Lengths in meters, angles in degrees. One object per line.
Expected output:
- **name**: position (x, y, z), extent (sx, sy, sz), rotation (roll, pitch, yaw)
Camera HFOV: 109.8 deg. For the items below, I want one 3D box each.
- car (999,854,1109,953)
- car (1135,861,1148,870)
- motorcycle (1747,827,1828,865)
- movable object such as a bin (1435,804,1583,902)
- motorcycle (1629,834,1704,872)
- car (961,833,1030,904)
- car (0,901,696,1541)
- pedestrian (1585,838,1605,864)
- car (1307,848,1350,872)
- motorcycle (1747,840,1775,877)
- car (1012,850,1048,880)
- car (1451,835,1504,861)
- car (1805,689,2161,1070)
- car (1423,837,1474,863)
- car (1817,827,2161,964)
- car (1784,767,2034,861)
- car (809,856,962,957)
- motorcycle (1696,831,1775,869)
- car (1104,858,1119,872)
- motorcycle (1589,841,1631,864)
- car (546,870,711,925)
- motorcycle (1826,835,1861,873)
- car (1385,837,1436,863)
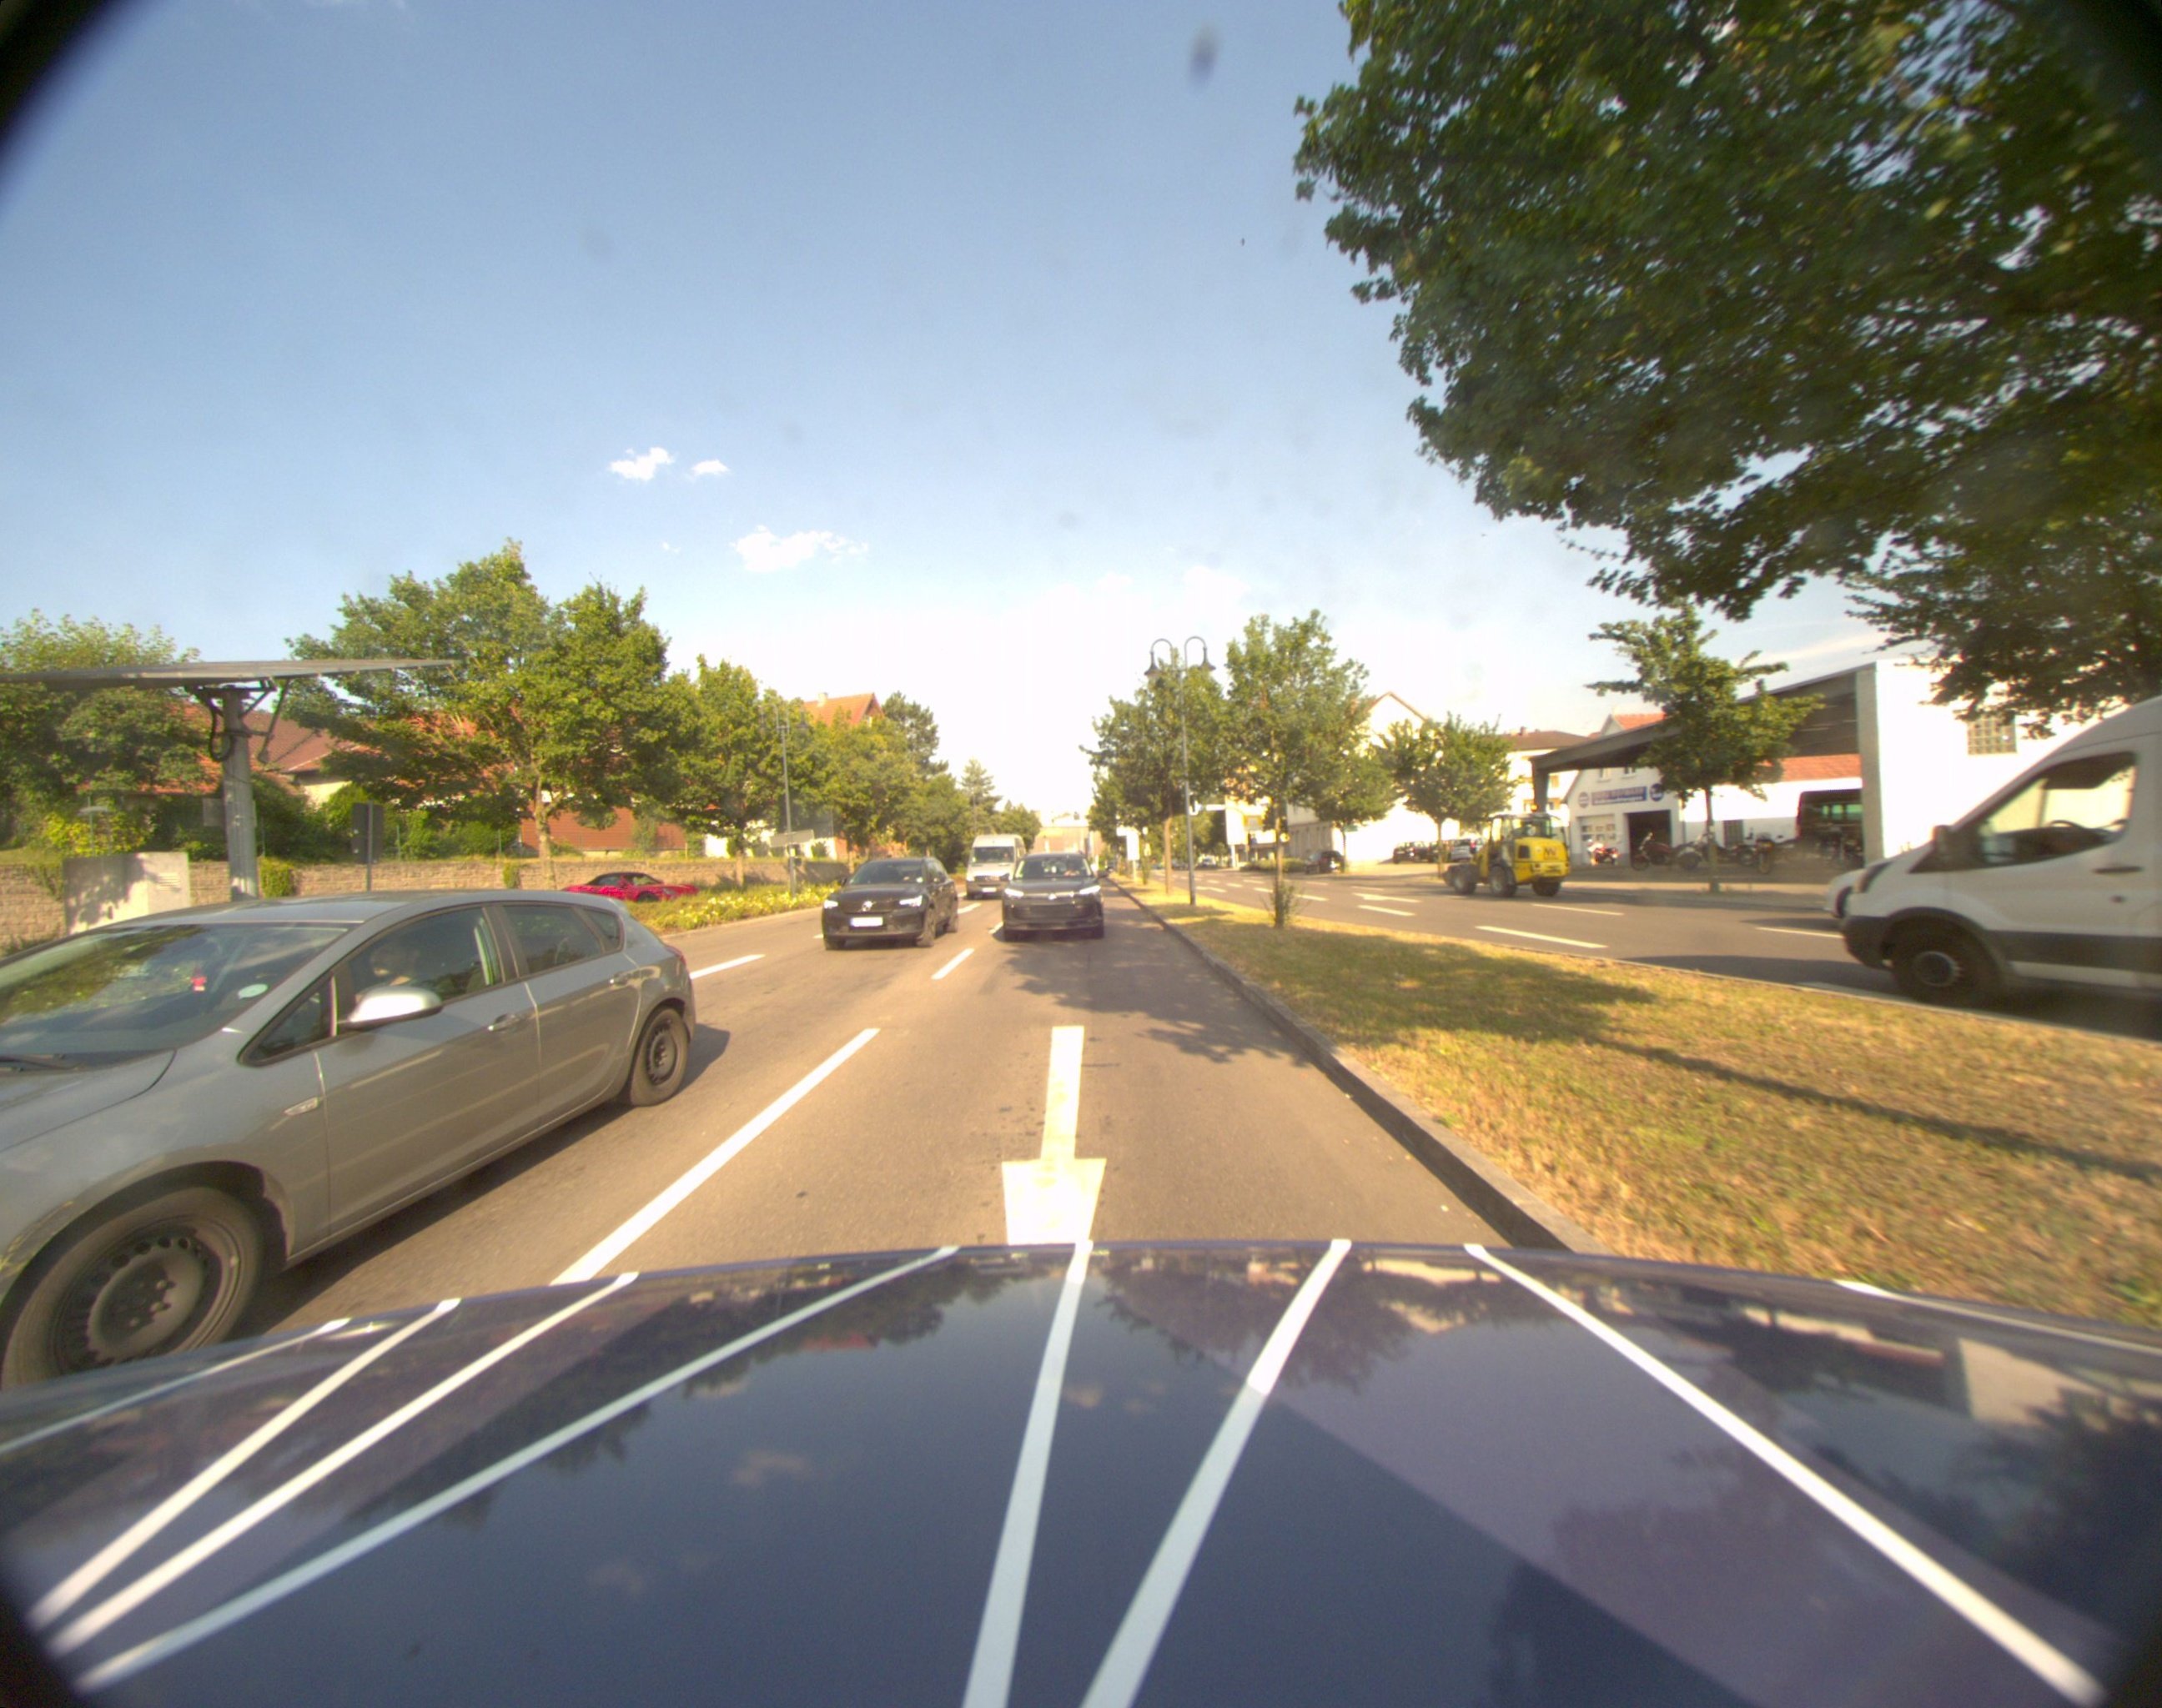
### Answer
- **car**: position (-0.438, 0.842, 14.817), extent (1.768, 1.582, 4.056), rotation (-3, 0, 0)
- **car**: position (11.444, 2.079, 142.974), extent (1.780, 1.516, 3.843), rotation (-2, 0, 13)
- **motorcycle**: position (26.277, -0.278, 28.299), extent (0.489, 1.314, 2.114), rotation (-3, 0, -40)
- **movable object such as a bin**: position (12.063, -0.029, 21.844), extent (1.556, 2.447, 4.978), rotation (-1, 0, 2)
- **motorcycle**: position (21.721, -0.013, 28.229), extent (0.489, 1.314, 2.114), rotation (-3, 0, -31)
- **car**: position (-3.437, 0.532, 31.801), extent (2.040, 2.642, 6.649), rotation (-1, 0, 0)
- **car**: position (-3.539, 1.038, 3.199), extent (1.651, 1.414, 4.144), rotation (-1, 0, 1)
- **pedestrian**: position (26.973, -0.143, 39.869), extent (0.596, 1.332, 0.584), rotation (-2, 1, -7)
- **car**: position (15.665, 0.354, 48.230), extent (1.672, 1.310, 3.432), rotation (-5, 0, 3)
- **motorcycle**: position (21.407, 0.129, 23.926), extent (0.549, 1.092, 2.052), rotation (-3, -1, 40)
- **car**: position (-2.955, 0.619, 45.050), extent (1.768, 1.582, 4.056), rotation (-3, 0, 0)
- **car**: position (24.430, -0.370, 46.783), extent (3.438, 1.534, 1.617), rotation (-2, 0, -39)
- **car**: position (8.041, 0.129, 4.472), extent (2.090, 2.461, 5.477), rotation (-2, 0, -3)
- **car**: position (23.966, -0.265, 49.486), extent (3.438, 1.555, 1.583), rotation (-2, 0, -39)
- **car**: position (12.177, 0.416, 9.612), extent (1.695, 1.406, 4.214), rotation (-2, 0, 2)
- **car**: position (30.327, -1.328, 28.097), extent (2.681, 2.942, 5.788), rotation (-2, -1, -33)
- **car**: position (-3.548, 0.870, 14.583), extent (1.792, 1.596, 4.056), rotation (-2, 0, 0)
- **motorcycle**: position (24.058, -0.128, 27.983), extent (0.489, 1.314, 2.114), rotation (-3, 0, -32)
- **car**: position (4.251, 1.517, 106.424), extent (1.816, 1.861, 4.001), rotation (-2, 0, 5)
- **motorcycle**: position (27.525, -0.081, 39.558), extent (0.488, 1.139, 2.118), rotation (-3, -1, -6)
- **car**: position (-13.551, 1.285, 22.864), extent (3.994, 1.422, 1.749), rotation (-2, 0, 8)
- **motorcycle**: position (23.754, -0.015, 23.695), extent (0.549, 1.092, 2.052), rotation (-3, -1, 40)
- **car**: position (22.391, -0.284, 51.544), extent (3.416, 1.616, 1.857), rotation (-2, 0, -41)
